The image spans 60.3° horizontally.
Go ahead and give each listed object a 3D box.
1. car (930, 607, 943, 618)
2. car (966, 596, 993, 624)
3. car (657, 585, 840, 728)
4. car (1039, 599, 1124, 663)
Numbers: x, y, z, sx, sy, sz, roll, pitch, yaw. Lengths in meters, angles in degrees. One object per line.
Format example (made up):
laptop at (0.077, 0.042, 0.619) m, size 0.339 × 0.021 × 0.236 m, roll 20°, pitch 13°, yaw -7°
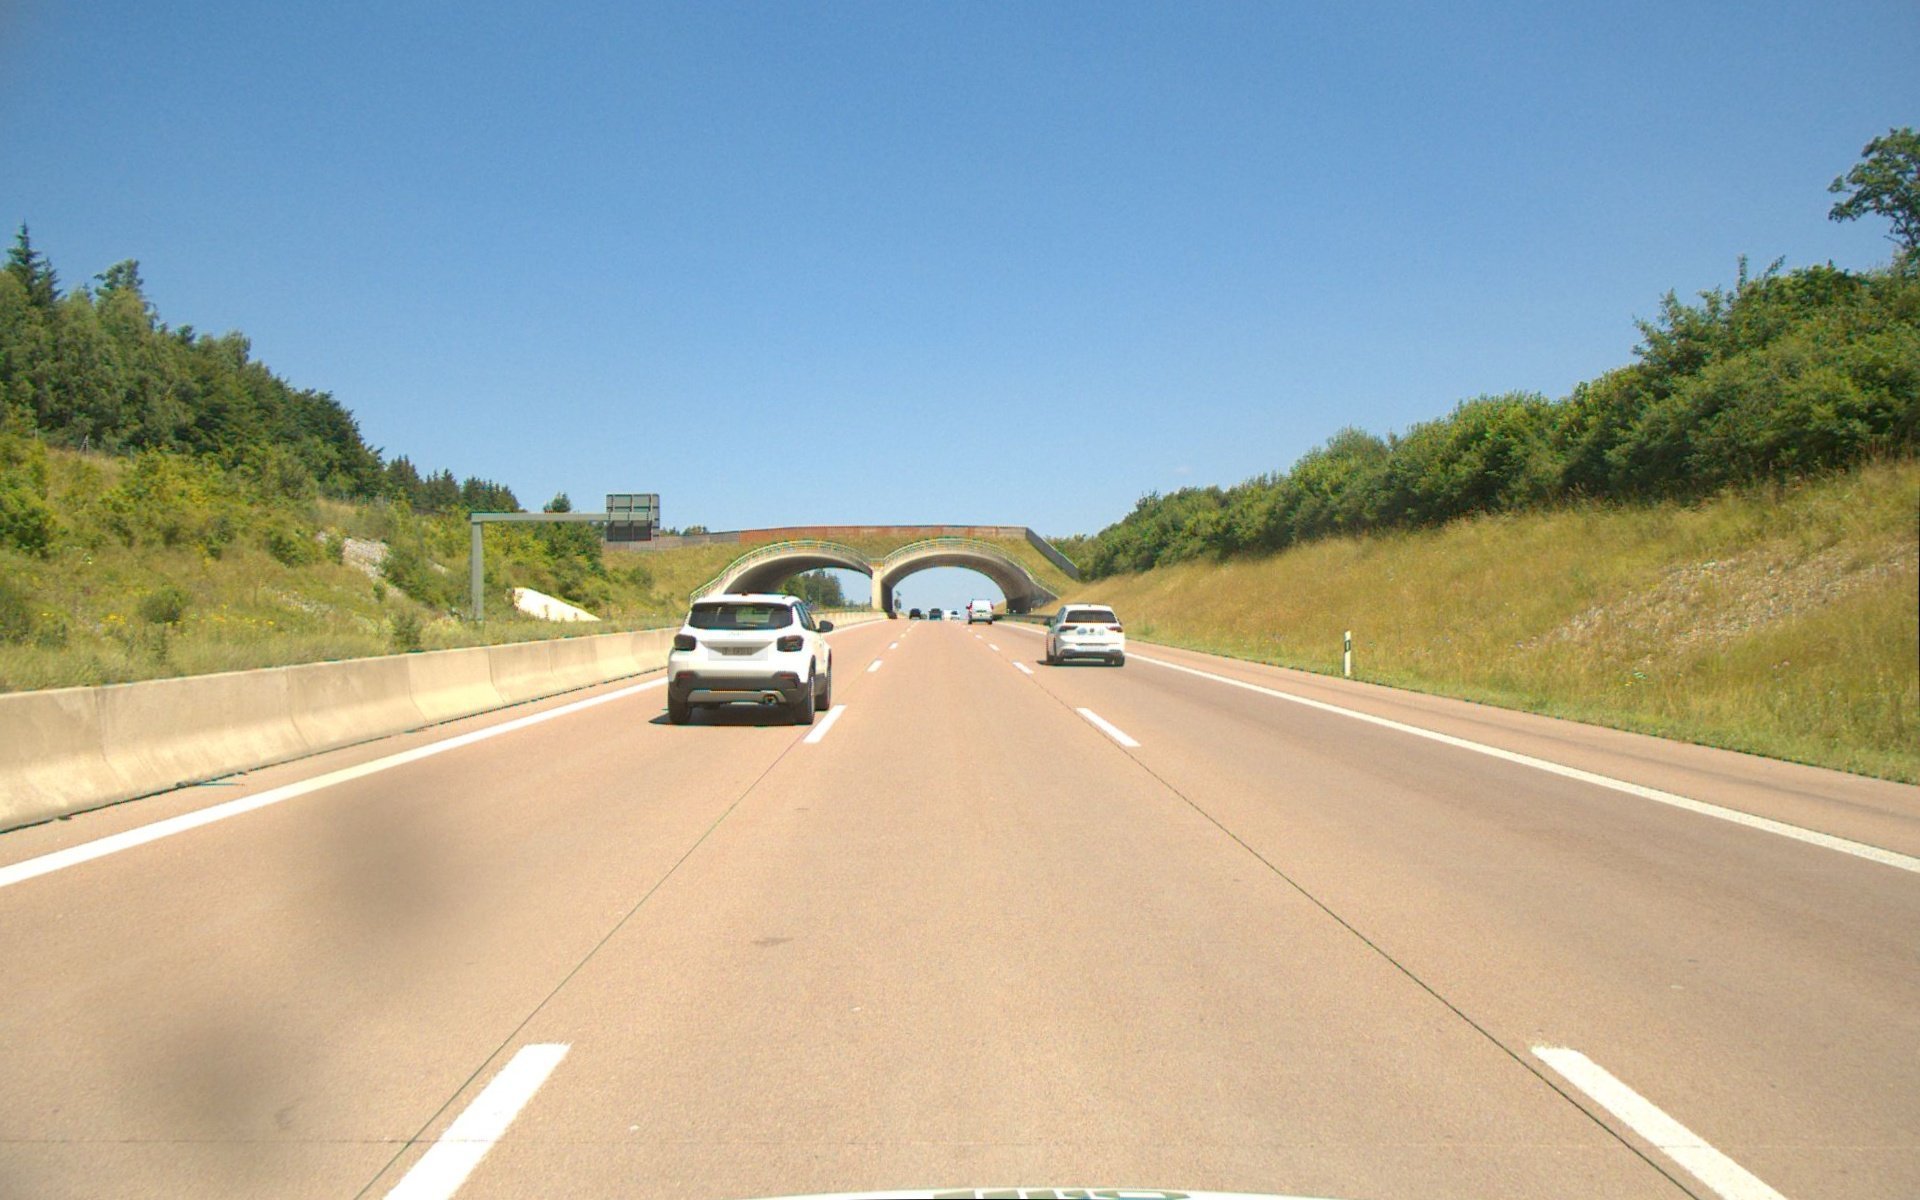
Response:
car at (-3.364, 1.803, 235.320) m, size 1.852 × 1.489 × 4.000 m, roll 1°, pitch 0°, yaw -1°
car at (1.573, 0.750, 130.183) m, size 2.067 × 2.089 × 4.001 m, roll 1°, pitch 1°, yaw 1°
car at (-2.618, 0.634, 21.510) m, size 1.841 × 1.635 × 4.833 m, roll 0°, pitch 0°, yaw -1°
car at (2.976, 0.728, 41.091) m, size 1.852 × 1.422 × 4.001 m, roll 1°, pitch 1°, yaw 1°
